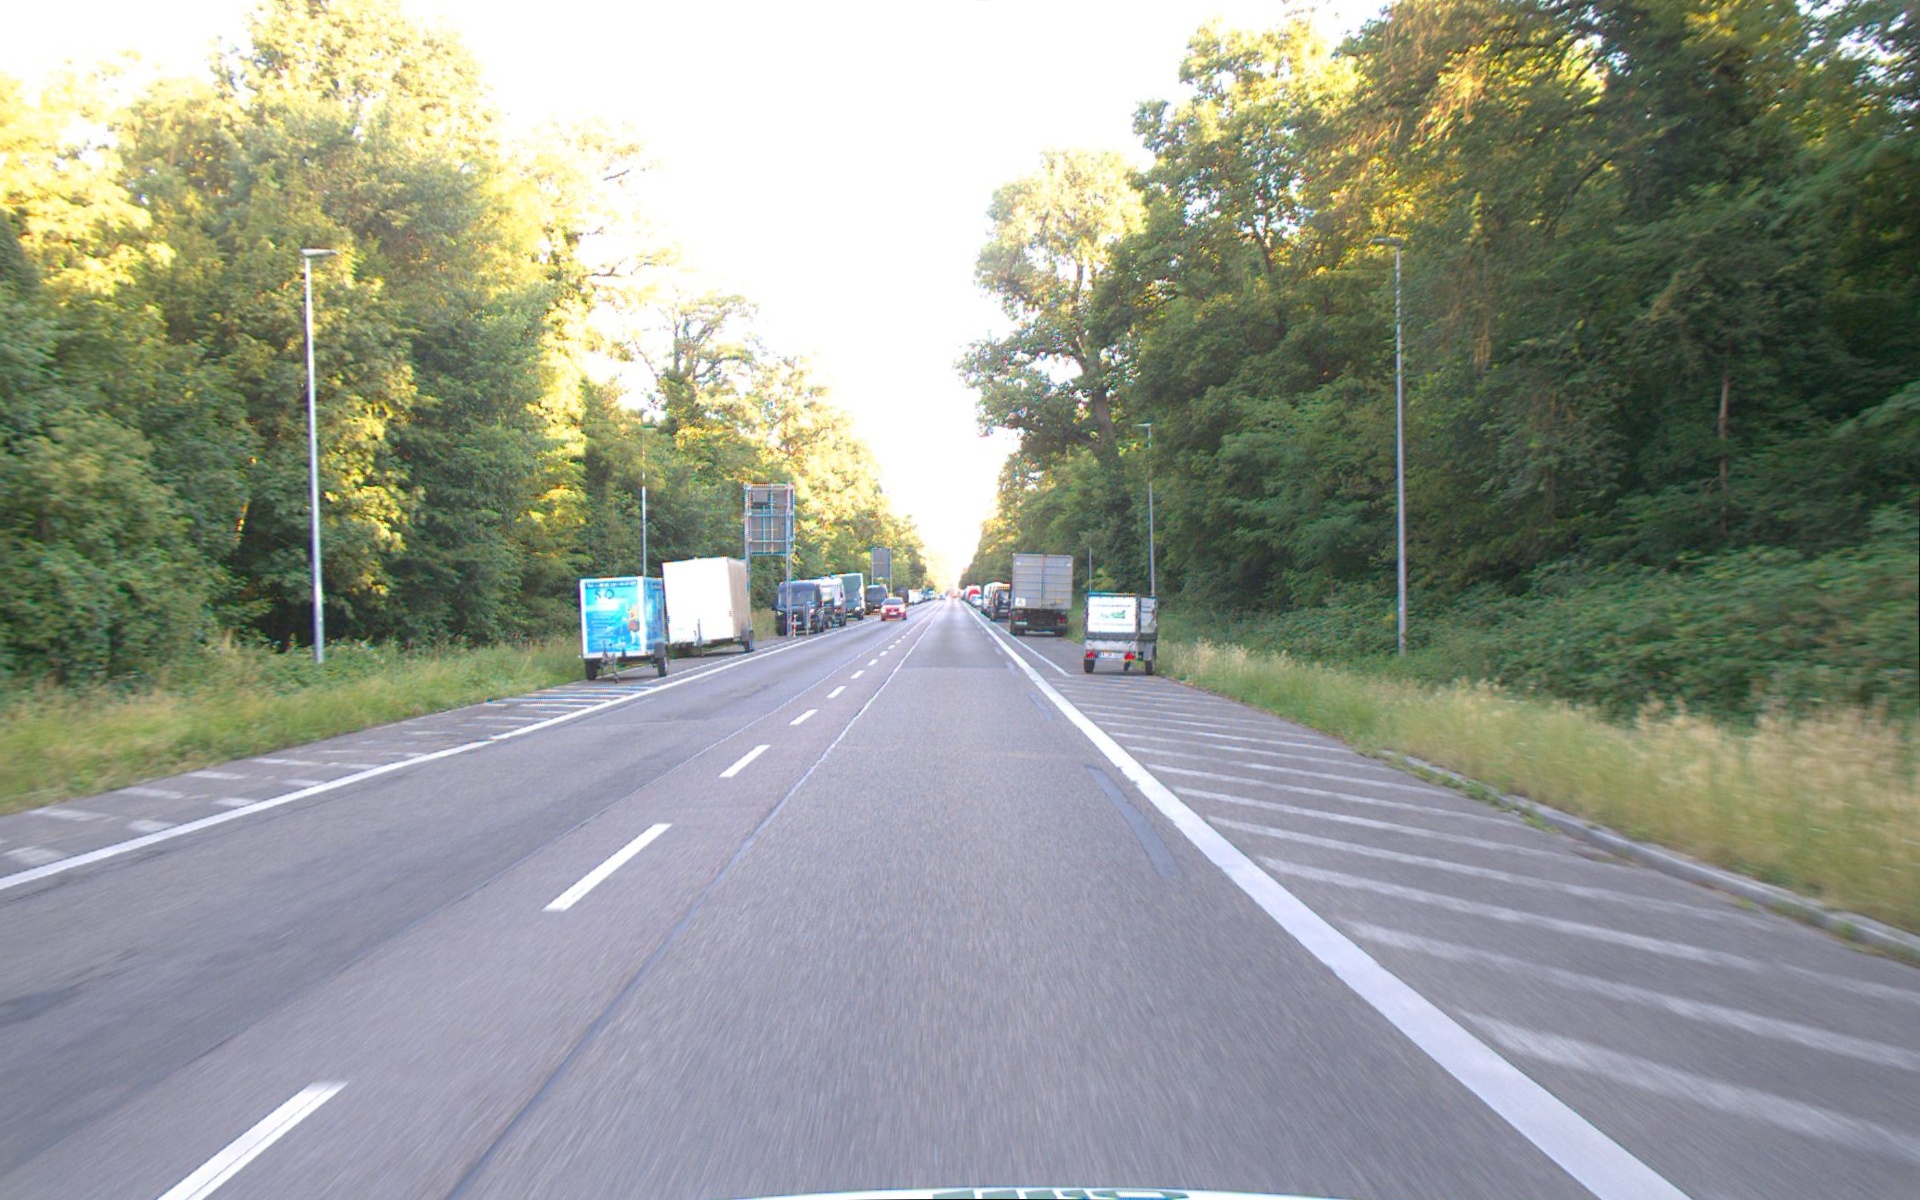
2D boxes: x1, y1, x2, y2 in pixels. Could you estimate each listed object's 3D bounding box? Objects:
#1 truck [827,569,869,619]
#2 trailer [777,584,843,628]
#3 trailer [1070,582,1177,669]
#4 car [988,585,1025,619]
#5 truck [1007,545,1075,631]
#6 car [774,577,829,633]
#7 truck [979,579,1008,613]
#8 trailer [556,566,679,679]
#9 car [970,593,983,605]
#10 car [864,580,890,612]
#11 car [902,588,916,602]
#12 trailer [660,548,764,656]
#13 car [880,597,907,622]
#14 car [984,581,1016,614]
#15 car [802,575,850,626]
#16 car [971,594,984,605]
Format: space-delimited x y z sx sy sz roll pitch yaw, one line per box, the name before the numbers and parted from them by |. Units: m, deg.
truck | -8.019 -0.421 119.010 2.453 3.387 6.841 -2 0 -1
trailer | -7.957 0.313 88.019 1.922 2.192 3.930 -2 0 21
trailer | 3.520 0.498 35.008 1.425 1.691 3.779 -2 0 18
car | 2.802 0.131 101.277 1.953 1.989 4.297 0 0 -3
truck | 3.231 -0.465 67.530 2.535 3.312 7.221 0 0 1
car | -7.341 0.196 77.127 1.953 2.405 5.765 -3 0 0
truck | 2.665 -0.314 133.628 2.098 2.706 4.297 0 0 -3
trailer | -7.189 0.441 35.085 1.780 2.205 4.142 -2 0 -1
car | 2.158 -0.081 215.255 1.612 1.512 4.000 1 0 -1
car | -7.689 -0.373 153.770 2.142 2.837 5.333 -2 0 -1
car | -8.065 -0.766 261.339 1.954 2.049 3.997 -1 -1 -3
trailer | -7.500 0.046 50.693 2.279 2.975 5.626 -3 0 -1
car | -4.375 0.609 109.712 1.648 1.512 4.037 -2 0 -1
car | 2.894 -0.152 120.542 2.098 2.354 4.297 0 0 -3
car | -7.523 0.015 93.552 2.203 2.694 5.720 -2 0 -1
car | 2.072 -0.098 198.510 1.398 1.243 3.411 -3 0 0
